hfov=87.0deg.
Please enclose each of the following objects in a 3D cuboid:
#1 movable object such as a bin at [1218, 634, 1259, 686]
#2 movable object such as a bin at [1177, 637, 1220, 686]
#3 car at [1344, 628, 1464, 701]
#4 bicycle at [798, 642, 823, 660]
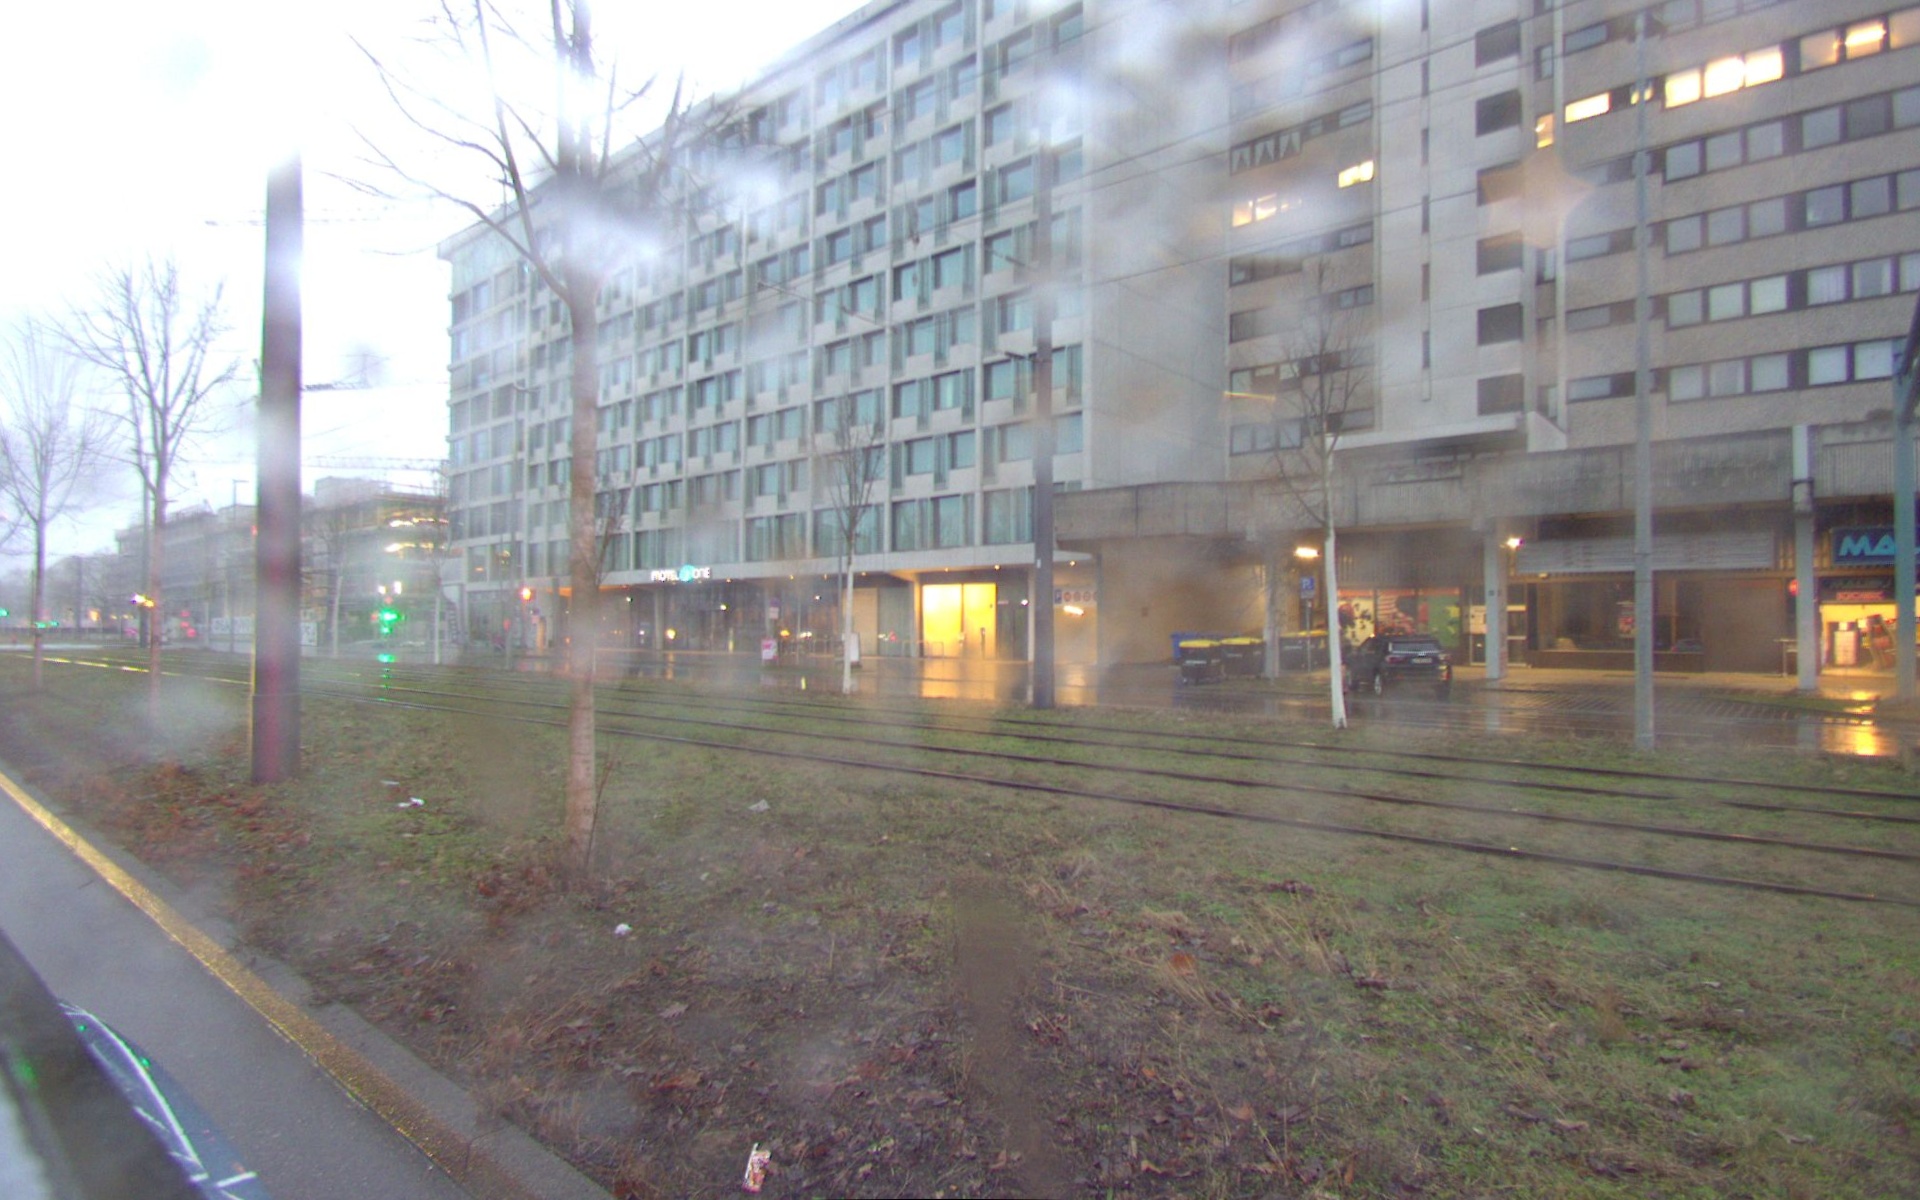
[{"bbox_3d":[8.689,1.853,31.548,1.008,1.512,1.042,-1,0,30],"label":"movable object such as a bin"},{"bbox_3d":[7.335,1.880,31.095,1.027,1.437,1.063,-1,0,30],"label":"movable object such as a bin"},{"bbox_3d":[11.969,1.679,27.585,1.962,1.706,4.131,-1,0,9],"label":"car"},{"bbox_3d":[-7.838,2.673,53.183,0.465,0.860,1.332,-1,0,39],"label":"bicycle"}]
